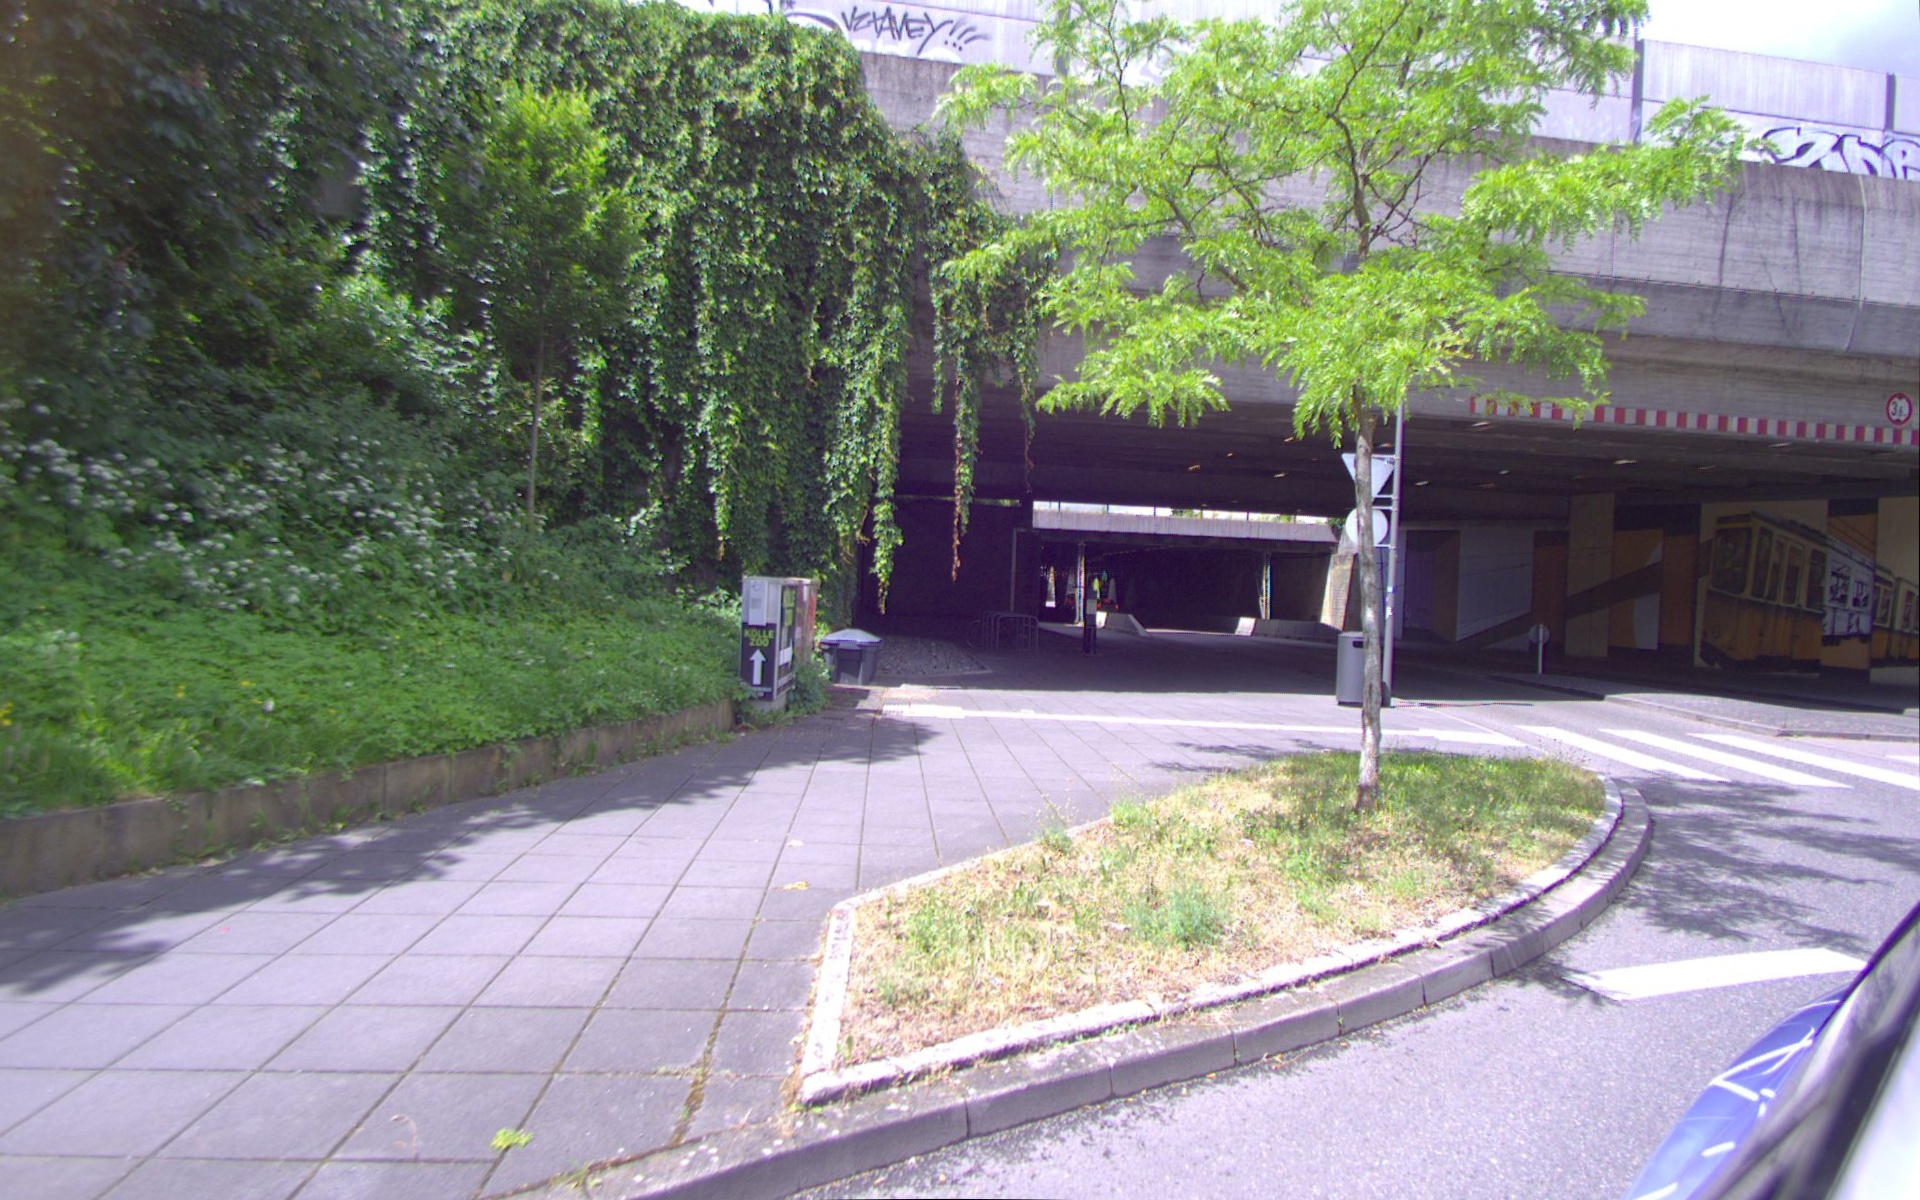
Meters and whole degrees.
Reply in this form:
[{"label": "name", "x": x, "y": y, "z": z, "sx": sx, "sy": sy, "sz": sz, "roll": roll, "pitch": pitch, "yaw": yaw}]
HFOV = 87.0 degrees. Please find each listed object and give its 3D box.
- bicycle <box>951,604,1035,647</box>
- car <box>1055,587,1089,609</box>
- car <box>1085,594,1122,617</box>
[{"label": "bicycle", "x": 0.784, "y": 0.604, "z": 24.298, "sx": 1.912, "sy": 0.915, "sz": 0.507, "roll": 3, "pitch": 1, "yaw": -6}, {"label": "car", "x": 9.147, "y": -0.208, "z": 82.770, "sx": 1.794, "sy": 1.674, "sz": 4.219, "roll": 3, "pitch": 0, "yaw": -6}, {"label": "car", "x": 10.122, "y": 0.357, "z": 71.643, "sx": 1.643, "sy": 1.465, "sz": 3.857, "roll": 3, "pitch": 0, "yaw": -6}]
